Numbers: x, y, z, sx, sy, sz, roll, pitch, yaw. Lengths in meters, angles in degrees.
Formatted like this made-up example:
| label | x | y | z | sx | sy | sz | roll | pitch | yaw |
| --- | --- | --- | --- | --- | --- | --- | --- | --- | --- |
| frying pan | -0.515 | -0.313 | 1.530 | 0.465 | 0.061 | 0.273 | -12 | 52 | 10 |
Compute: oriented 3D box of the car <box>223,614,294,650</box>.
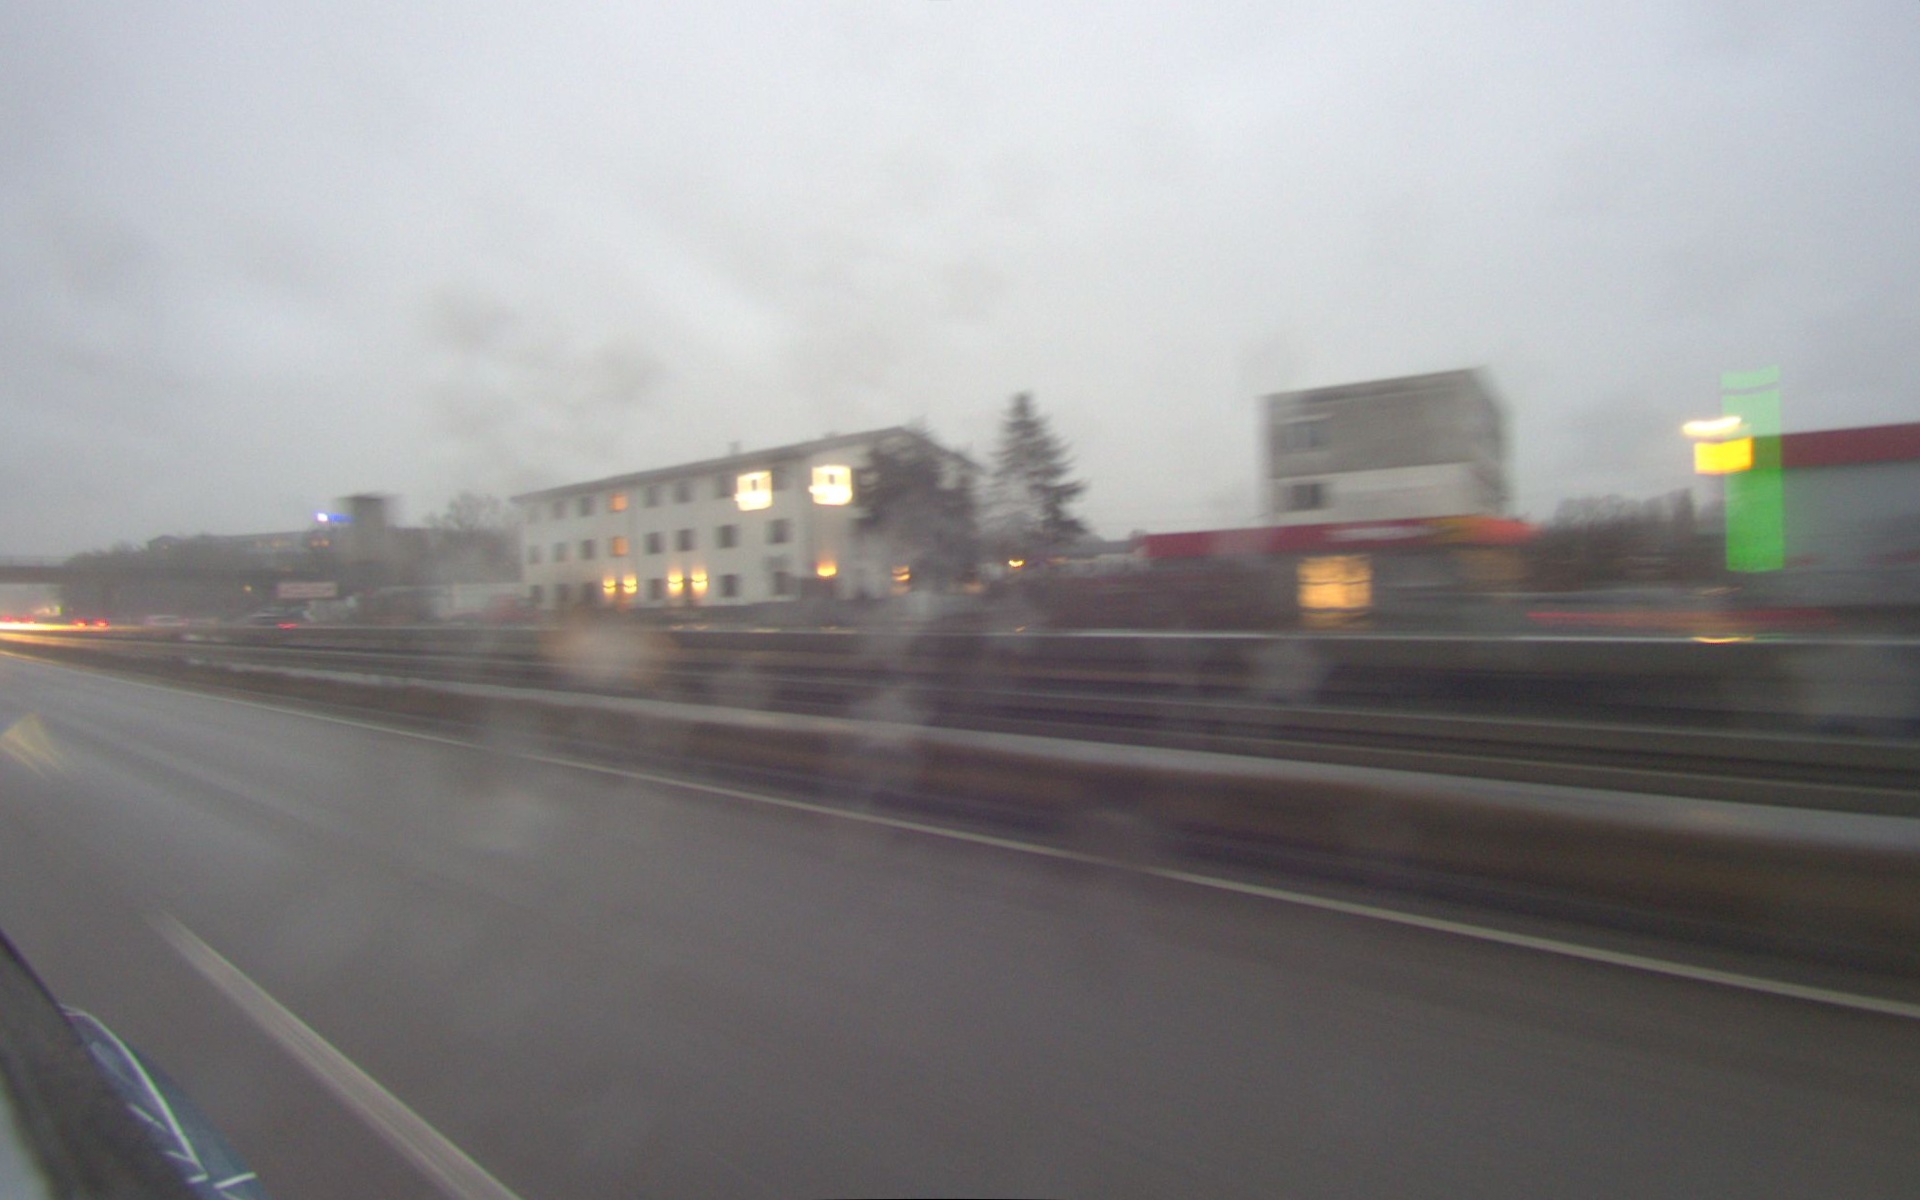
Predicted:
| label | x | y | z | sx | sy | sz | roll | pitch | yaw |
| --- | --- | --- | --- | --- | --- | --- | --- | --- | --- |
| car | -31.532 | 1.409 | 45.448 | 3.998 | 1.519 | 1.718 | -1 | 1 | 42 |

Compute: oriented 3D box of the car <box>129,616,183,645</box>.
| label | x | y | z | sx | sy | sz | roll | pitch | yaw |
| --- | --- | --- | --- | --- | --- | --- | --- | --- | --- |
| car | -45.540 | 1.681 | 57.297 | 3.998 | 1.519 | 1.718 | -1 | 1 | 42 |

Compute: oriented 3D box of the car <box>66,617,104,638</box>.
| label | x | y | z | sx | sy | sz | roll | pitch | yaw |
| --- | --- | --- | --- | --- | --- | --- | --- | --- | --- |
| car | -68.645 | 2.119 | 79.402 | 3.998 | 1.519 | 1.718 | -1 | 1 | 42 |

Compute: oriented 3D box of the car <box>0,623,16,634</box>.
| label | x | y | z | sx | sy | sz | roll | pitch | yaw |
| --- | --- | --- | --- | --- | --- | --- | --- | --- | --- |
| car | -156.083 | 4.679 | 165.697 | 3.999 | 1.584 | 1.972 | -1 | 0 | 42 |

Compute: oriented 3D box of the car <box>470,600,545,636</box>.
| label | x | y | z | sx | sy | sz | roll | pitch | yaw |
| --- | --- | --- | --- | --- | --- | --- | --- | --- | --- |
| car | -27.302 | 1.076 | 61.035 | 4.956 | 2.029 | 2.134 | -1 | 1 | 40 |

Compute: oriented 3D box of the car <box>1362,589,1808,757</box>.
| label | x | y | z | sx | sy | sz | roll | pitch | yaw |
| --- | --- | --- | --- | --- | --- | --- | --- | --- | --- |
| car | 6.830 | 0.693 | 11.297 | 3.998 | 1.519 | 1.718 | -1 | 1 | 42 |
